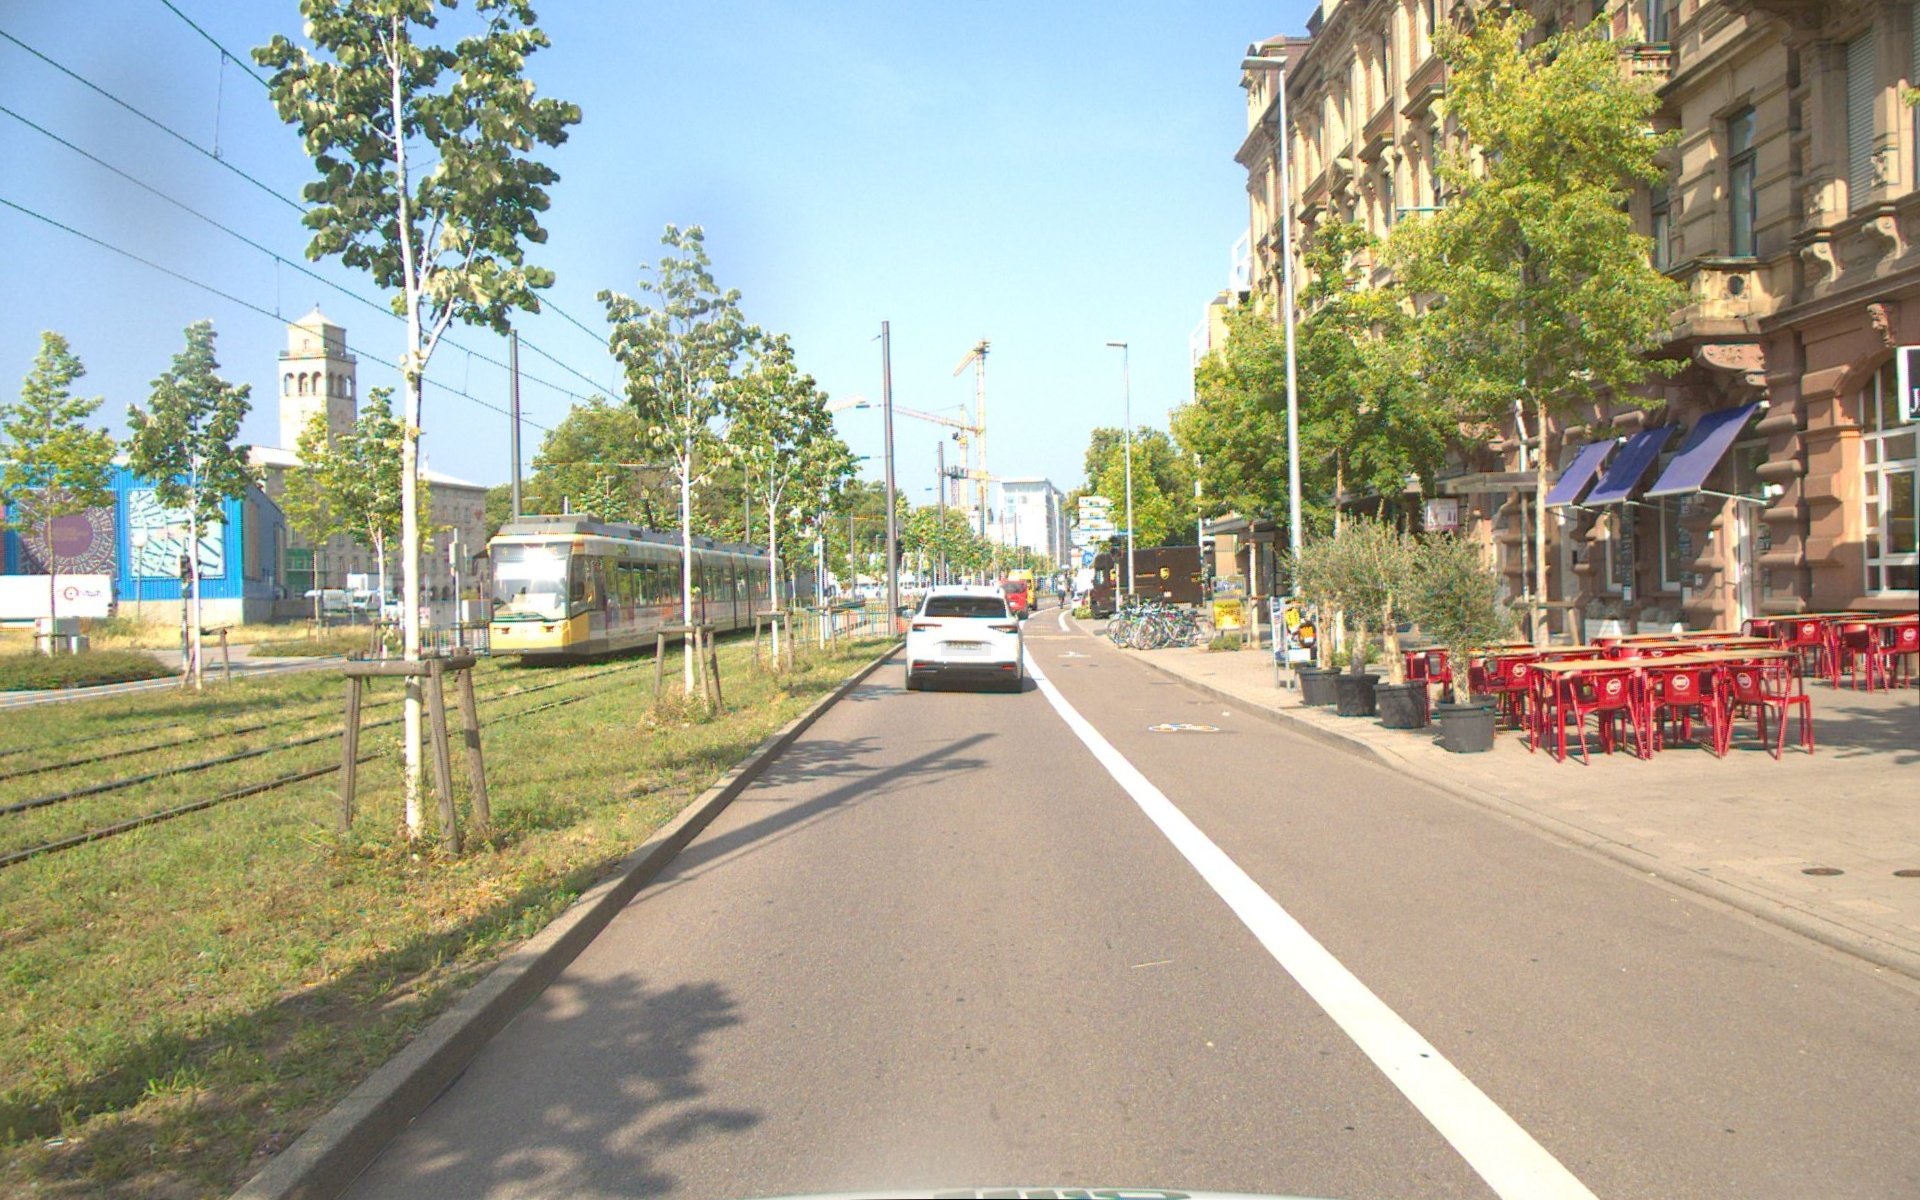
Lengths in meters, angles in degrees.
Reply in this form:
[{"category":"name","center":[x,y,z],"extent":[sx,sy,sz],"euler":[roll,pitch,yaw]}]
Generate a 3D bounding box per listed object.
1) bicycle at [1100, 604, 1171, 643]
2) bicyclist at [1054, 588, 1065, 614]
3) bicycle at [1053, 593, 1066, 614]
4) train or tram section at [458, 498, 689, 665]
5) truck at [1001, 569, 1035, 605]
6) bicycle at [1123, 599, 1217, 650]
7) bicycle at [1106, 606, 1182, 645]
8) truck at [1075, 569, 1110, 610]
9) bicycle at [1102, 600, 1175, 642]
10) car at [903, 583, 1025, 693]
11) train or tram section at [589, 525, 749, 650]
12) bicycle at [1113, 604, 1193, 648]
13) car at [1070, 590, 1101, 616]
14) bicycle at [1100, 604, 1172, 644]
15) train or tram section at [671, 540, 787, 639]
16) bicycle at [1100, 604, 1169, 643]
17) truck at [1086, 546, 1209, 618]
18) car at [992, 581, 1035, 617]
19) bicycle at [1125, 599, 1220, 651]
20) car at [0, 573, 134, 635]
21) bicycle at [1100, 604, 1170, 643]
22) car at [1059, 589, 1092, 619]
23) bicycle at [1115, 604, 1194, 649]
[{"category":"bicycle","center":[4.859,0.656,45.871],"extent":[1.894,0.962,0.441],"euler":[-3,0,3]},{"category":"bicyclist","center":[7.427,0.065,123.521],"extent":[0.694,1.929,0.843],"euler":[-1,0,0]},{"category":"bicycle","center":[7.423,0.265,123.682],"extent":[0.765,1.522,2.801],"euler":[-1,0,0]},{"category":"train or tram section","center":[-9.635,-0.402,43.088],"extent":[2.838,3.649,12.478],"euler":[-2,0,1]},{"category":"truck","center":[3.998,-0.890,114.715],"extent":[2.167,2.358,5.891],"euler":[-1,0,1]},{"category":"bicycle","center":[5.171,0.603,40.734],"extent":[2.193,1.123,0.519],"euler":[-3,0,0]},{"category":"bicycle","center":[4.816,0.670,43.290],"extent":[1.895,0.889,0.441],"euler":[-3,0,0]},{"category":"truck","center":[8.588,-0.699,107.267],"extent":[1.952,2.552,4.001],"euler":[-1,0,1]},{"category":"bicycle","center":[4.836,0.565,44.943],"extent":[1.894,1.030,0.441],"euler":[-3,0,3]},{"category":"car","center":[0.018,0.548,26.566],"extent":[1.780,1.617,4.406],"euler":[0,0,-1]},{"category":"train or tram section","center":[-9.509,-0.371,55.807],"extent":[2.838,3.649,12.934],"euler":[-2,0,1]},{"category":"bicycle","center":[4.904,0.661,42.090],"extent":[1.915,1.003,0.471],"euler":[-3,0,0]},{"category":"car","center":[7.080,0.159,93.462],"extent":[1.615,1.409,3.529],"euler":[-1,0,6]},{"category":"bicycle","center":[4.834,0.654,45.392],"extent":[1.894,0.962,0.441],"euler":[-3,0,3]},{"category":"train or tram section","center":[-9.318,-0.382,68.350],"extent":[2.838,3.649,12.226],"euler":[-2,0,1]},{"category":"bicycle","center":[4.921,0.661,46.697],"extent":[1.894,0.962,0.429],"euler":[-3,0,3]},{"category":"truck","center":[8.368,-0.806,74.620],"extent":[2.475,3.064,6.912],"euler":[-1,0,-22]},{"category":"car","center":[2.672,-0.060,81.574],"extent":[1.952,1.713,4.371],"euler":[-1,0,4]},{"category":"bicycle","center":[5.155,0.601,40.178],"extent":[2.193,1.123,0.588],"euler":[-3,0,0]},{"category":"car","center":[-41.276,0.183,74.723],"extent":[6.779,2.685,2.497],"euler":[1,0,-22]},{"category":"bicycle","center":[4.882,0.658,46.255],"extent":[1.894,0.962,0.429],"euler":[-3,0,3]},{"category":"car","center":[6.239,0.216,89.210],"extent":[1.615,1.525,3.529],"euler":[-1,0,6]},{"category":"bicycle","center":[4.886,0.659,41.609],"extent":[1.895,1.003,0.471],"euler":[-3,0,0]}]
